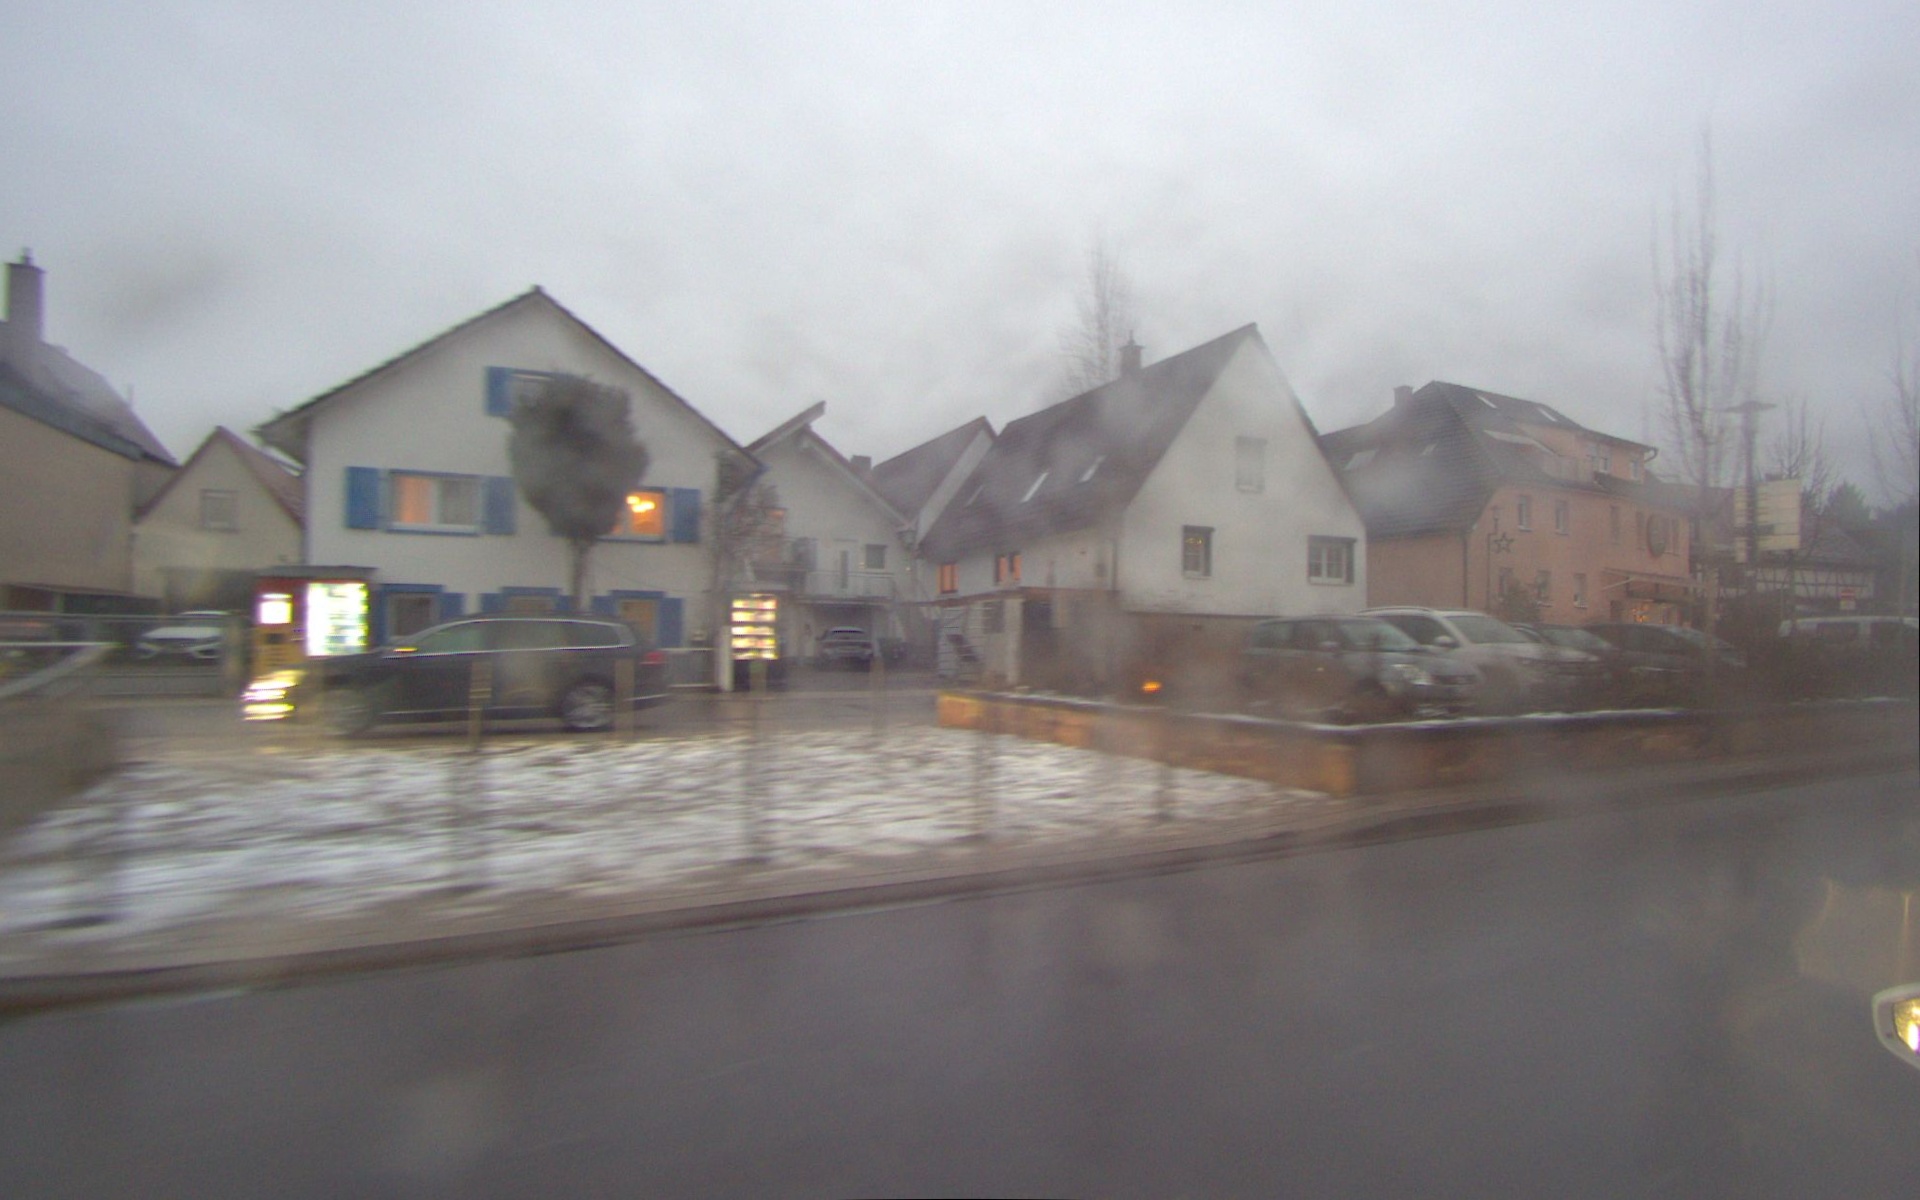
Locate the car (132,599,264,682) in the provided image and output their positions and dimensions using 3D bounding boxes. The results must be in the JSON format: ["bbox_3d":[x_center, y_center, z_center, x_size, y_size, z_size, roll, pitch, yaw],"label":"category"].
[{"bbox_3d":[-20.209,1.102,26.808,1.810,2.045,3.566,0,-3,-21],"label":"car"}]

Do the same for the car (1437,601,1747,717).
[{"bbox_3d":[10.073,0.862,16.382,1.566,1.629,4.081,2,-1,-25],"label":"car"}]

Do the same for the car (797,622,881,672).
[{"bbox_3d":[-4.148,1.557,33.863,1.890,1.516,3.923,2,-1,-21],"label":"car"}]

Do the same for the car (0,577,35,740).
[{"bbox_3d":[-12.219,0.592,9.660,4.500,1.723,1.751,1,-3,-24],"label":"car"}]

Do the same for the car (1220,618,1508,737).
[{"bbox_3d":[5.349,0.958,13.674,1.582,1.390,3.429,1,-2,-29],"label":"car"}]

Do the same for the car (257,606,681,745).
[{"bbox_3d":[-5.993,0.864,12.712,4.513,1.502,1.796,1,-2,-27],"label":"car"}]

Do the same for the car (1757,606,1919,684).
[{"bbox_3d":[21.582,1.031,23.180,1.977,1.689,4.602,2,-1,-31],"label":"car"}]

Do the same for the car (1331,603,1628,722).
[{"bbox_3d":[7.602,0.846,15.115,1.690,1.543,3.786,2,-1,-22],"label":"car"}]
